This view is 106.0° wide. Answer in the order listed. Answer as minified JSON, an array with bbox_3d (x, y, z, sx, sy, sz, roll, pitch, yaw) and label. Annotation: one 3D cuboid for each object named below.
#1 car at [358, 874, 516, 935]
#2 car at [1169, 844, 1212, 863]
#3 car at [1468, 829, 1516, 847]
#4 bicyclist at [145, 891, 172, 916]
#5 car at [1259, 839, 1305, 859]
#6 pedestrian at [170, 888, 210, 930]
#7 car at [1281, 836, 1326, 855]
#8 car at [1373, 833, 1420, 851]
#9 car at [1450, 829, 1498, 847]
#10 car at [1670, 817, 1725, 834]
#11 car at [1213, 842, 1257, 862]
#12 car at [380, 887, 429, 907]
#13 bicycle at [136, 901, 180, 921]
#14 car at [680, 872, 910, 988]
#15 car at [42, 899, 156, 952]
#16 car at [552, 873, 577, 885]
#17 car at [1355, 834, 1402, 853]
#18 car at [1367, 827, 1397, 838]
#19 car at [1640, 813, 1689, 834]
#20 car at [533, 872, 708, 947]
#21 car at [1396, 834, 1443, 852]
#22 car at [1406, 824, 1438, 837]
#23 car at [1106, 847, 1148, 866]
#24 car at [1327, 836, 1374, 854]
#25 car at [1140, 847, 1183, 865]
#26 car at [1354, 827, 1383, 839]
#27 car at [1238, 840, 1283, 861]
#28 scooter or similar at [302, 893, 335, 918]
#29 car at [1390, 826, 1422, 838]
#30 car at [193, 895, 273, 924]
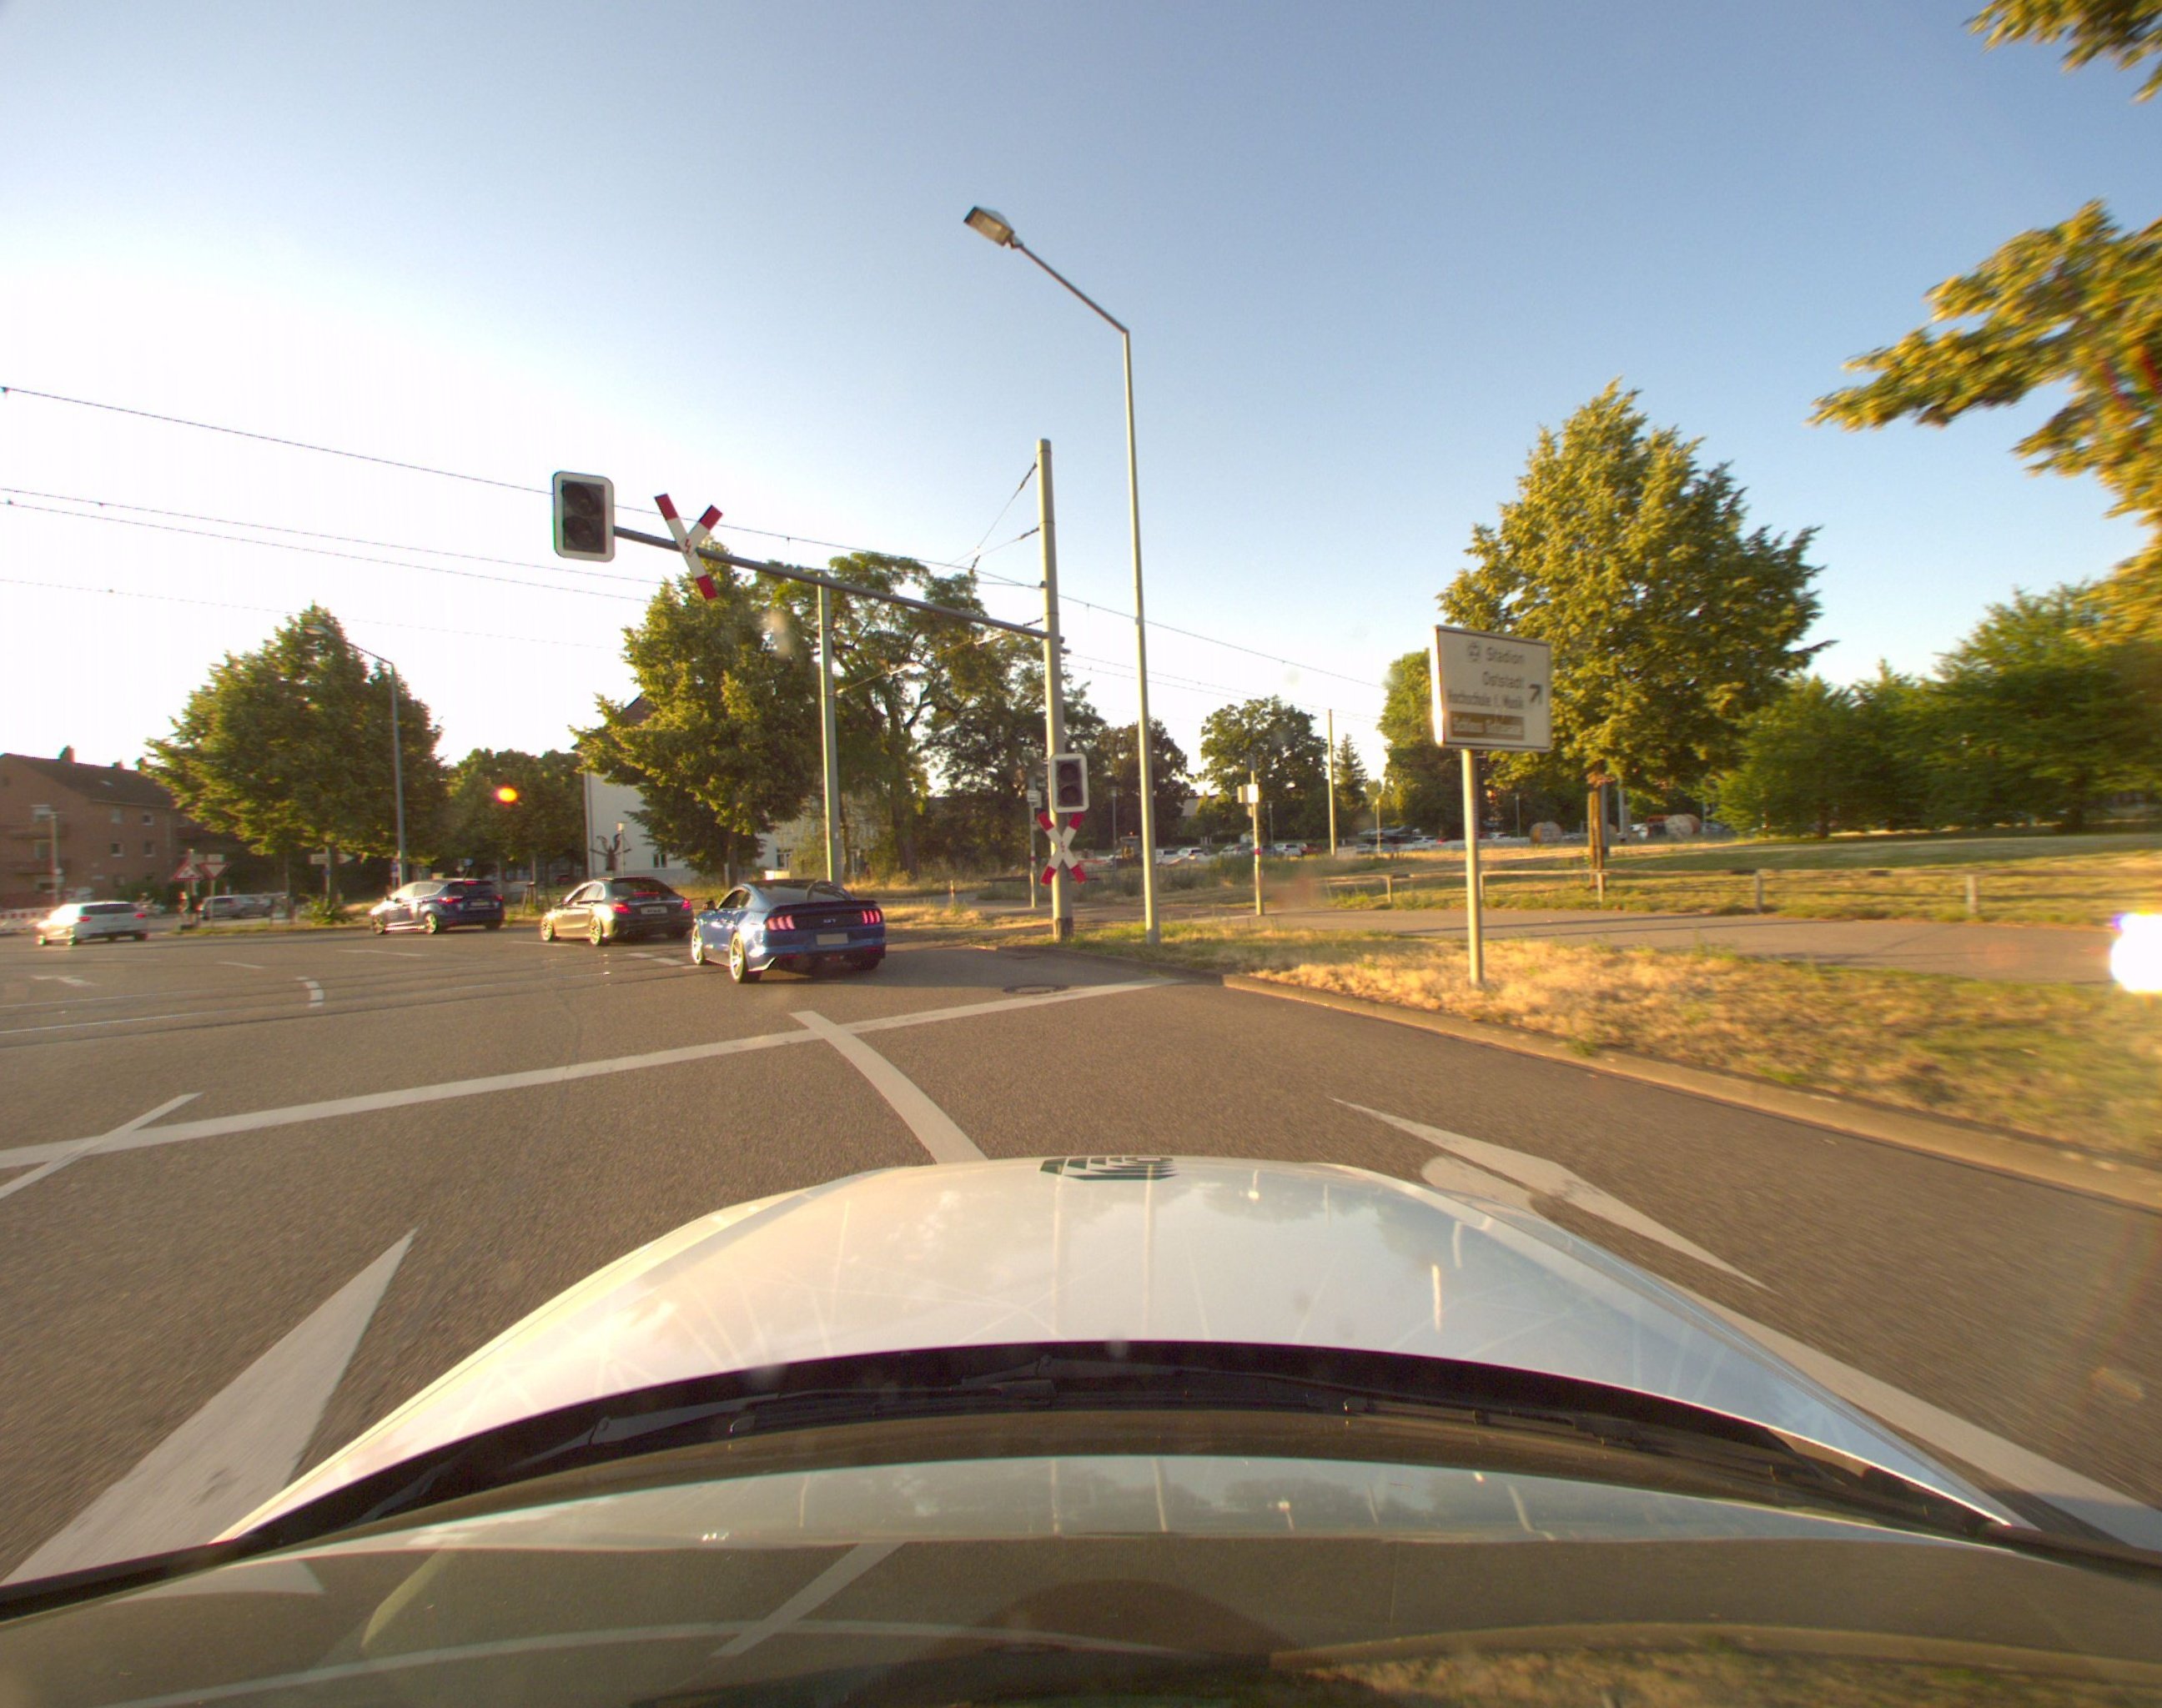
[{"bbox_3d":[-19.200,1.503,24.284,4.028,1.602,1.968,-2,0,23],"label":"car"},{"bbox_3d":[9.378,-0.039,70.018,1.955,1.445,3.969,-3,0,-23],"label":"car"},{"bbox_3d":[41.306,-1.598,81.965,1.906,1.553,3.969,-3,0,-23],"label":"car"},{"bbox_3d":[-63.072,3.392,55.685,0.754,1.612,0.972,-3,0,-17],"label":"bicyclist"},{"bbox_3d":[18.117,-0.447,73.472,1.955,1.662,3.969,-3,0,-23],"label":"car"},{"bbox_3d":[-37.792,2.302,34.552,0.890,1.686,0.837,-3,0,-33],"label":"pedestrian"},{"bbox_3d":[20.399,-0.744,74.784,1.906,1.553,3.969,-3,0,-23],"label":"car"},{"bbox_3d":[30.050,-1.106,77.719,1.906,1.553,3.969,-3,0,-23],"label":"car"},{"bbox_3d":[39.051,-1.594,80.952,1.906,1.553,3.969,-3,0,-23],"label":"car"},{"bbox_3d":[56.054,-2.571,74.088,1.714,1.482,3.581,-1,1,-26],"label":"car"},{"bbox_3d":[13.645,-0.152,72.263,1.955,1.662,3.969,-3,0,-23],"label":"car"},{"bbox_3d":[-57.543,3.604,69.366,1.881,1.401,3.892,-3,1,-19],"label":"car"},{"bbox_3d":[-63.073,3.863,55.678,0.754,1.167,2.396,-3,0,-16],"label":"bicycle"},{"bbox_3d":[-4.502,0.978,12.313,1.967,1.342,4.618,-2,0,-37],"label":"car"},{"bbox_3d":[-34.680,2.536,28.760,3.866,1.402,1.893,-10,-9,30],"label":"car"},{"bbox_3d":[-70.008,3.379,110.485,1.881,1.401,3.892,-3,1,-19],"label":"car"},{"bbox_3d":[28.063,-0.960,76.919,1.906,1.553,3.969,-3,0,-23],"label":"car"},{"bbox_3d":[45.970,-3.271,124.358,4.000,1.553,1.891,-3,0,-20],"label":"car"},{"bbox_3d":[64.800,-3.377,90.486,1.906,2.095,3.969,-3,0,-23],"label":"car"},{"bbox_3d":[-10.498,1.192,18.438,4.372,1.427,1.970,-2,-1,39],"label":"car"},{"bbox_3d":[32.588,-1.082,78.467,1.906,1.553,3.969,-3,0,-23],"label":"car"},{"bbox_3d":[48.685,-3.331,116.343,4.001,1.744,1.986,-3,1,-21],"label":"car"},{"bbox_3d":[3.824,0.253,68.679,1.955,1.445,3.969,-3,0,-23],"label":"car"},{"bbox_3d":[25.160,-0.810,76.119,1.906,1.553,4.067,-3,0,-23],"label":"car"},{"bbox_3d":[6.830,0.182,69.430,1.955,1.445,3.969,-3,0,-23],"label":"car"},{"bbox_3d":[44.982,-3.268,127.330,4.000,1.553,1.891,-3,0,-20],"label":"car"},{"bbox_3d":[15.979,-0.278,72.817,1.955,1.662,3.969,-3,0,-23],"label":"car"},{"bbox_3d":[-39.926,2.694,42.651,0.437,1.238,1.129,-3,0,20],"label":"scooter or similar"},{"bbox_3d":[47.729,-3.247,119.541,4.000,1.553,1.891,-3,0,-20],"label":"car"},{"bbox_3d":[-50.899,3.322,48.962,1.884,1.401,3.886,-3,1,-23],"label":"car"}]
